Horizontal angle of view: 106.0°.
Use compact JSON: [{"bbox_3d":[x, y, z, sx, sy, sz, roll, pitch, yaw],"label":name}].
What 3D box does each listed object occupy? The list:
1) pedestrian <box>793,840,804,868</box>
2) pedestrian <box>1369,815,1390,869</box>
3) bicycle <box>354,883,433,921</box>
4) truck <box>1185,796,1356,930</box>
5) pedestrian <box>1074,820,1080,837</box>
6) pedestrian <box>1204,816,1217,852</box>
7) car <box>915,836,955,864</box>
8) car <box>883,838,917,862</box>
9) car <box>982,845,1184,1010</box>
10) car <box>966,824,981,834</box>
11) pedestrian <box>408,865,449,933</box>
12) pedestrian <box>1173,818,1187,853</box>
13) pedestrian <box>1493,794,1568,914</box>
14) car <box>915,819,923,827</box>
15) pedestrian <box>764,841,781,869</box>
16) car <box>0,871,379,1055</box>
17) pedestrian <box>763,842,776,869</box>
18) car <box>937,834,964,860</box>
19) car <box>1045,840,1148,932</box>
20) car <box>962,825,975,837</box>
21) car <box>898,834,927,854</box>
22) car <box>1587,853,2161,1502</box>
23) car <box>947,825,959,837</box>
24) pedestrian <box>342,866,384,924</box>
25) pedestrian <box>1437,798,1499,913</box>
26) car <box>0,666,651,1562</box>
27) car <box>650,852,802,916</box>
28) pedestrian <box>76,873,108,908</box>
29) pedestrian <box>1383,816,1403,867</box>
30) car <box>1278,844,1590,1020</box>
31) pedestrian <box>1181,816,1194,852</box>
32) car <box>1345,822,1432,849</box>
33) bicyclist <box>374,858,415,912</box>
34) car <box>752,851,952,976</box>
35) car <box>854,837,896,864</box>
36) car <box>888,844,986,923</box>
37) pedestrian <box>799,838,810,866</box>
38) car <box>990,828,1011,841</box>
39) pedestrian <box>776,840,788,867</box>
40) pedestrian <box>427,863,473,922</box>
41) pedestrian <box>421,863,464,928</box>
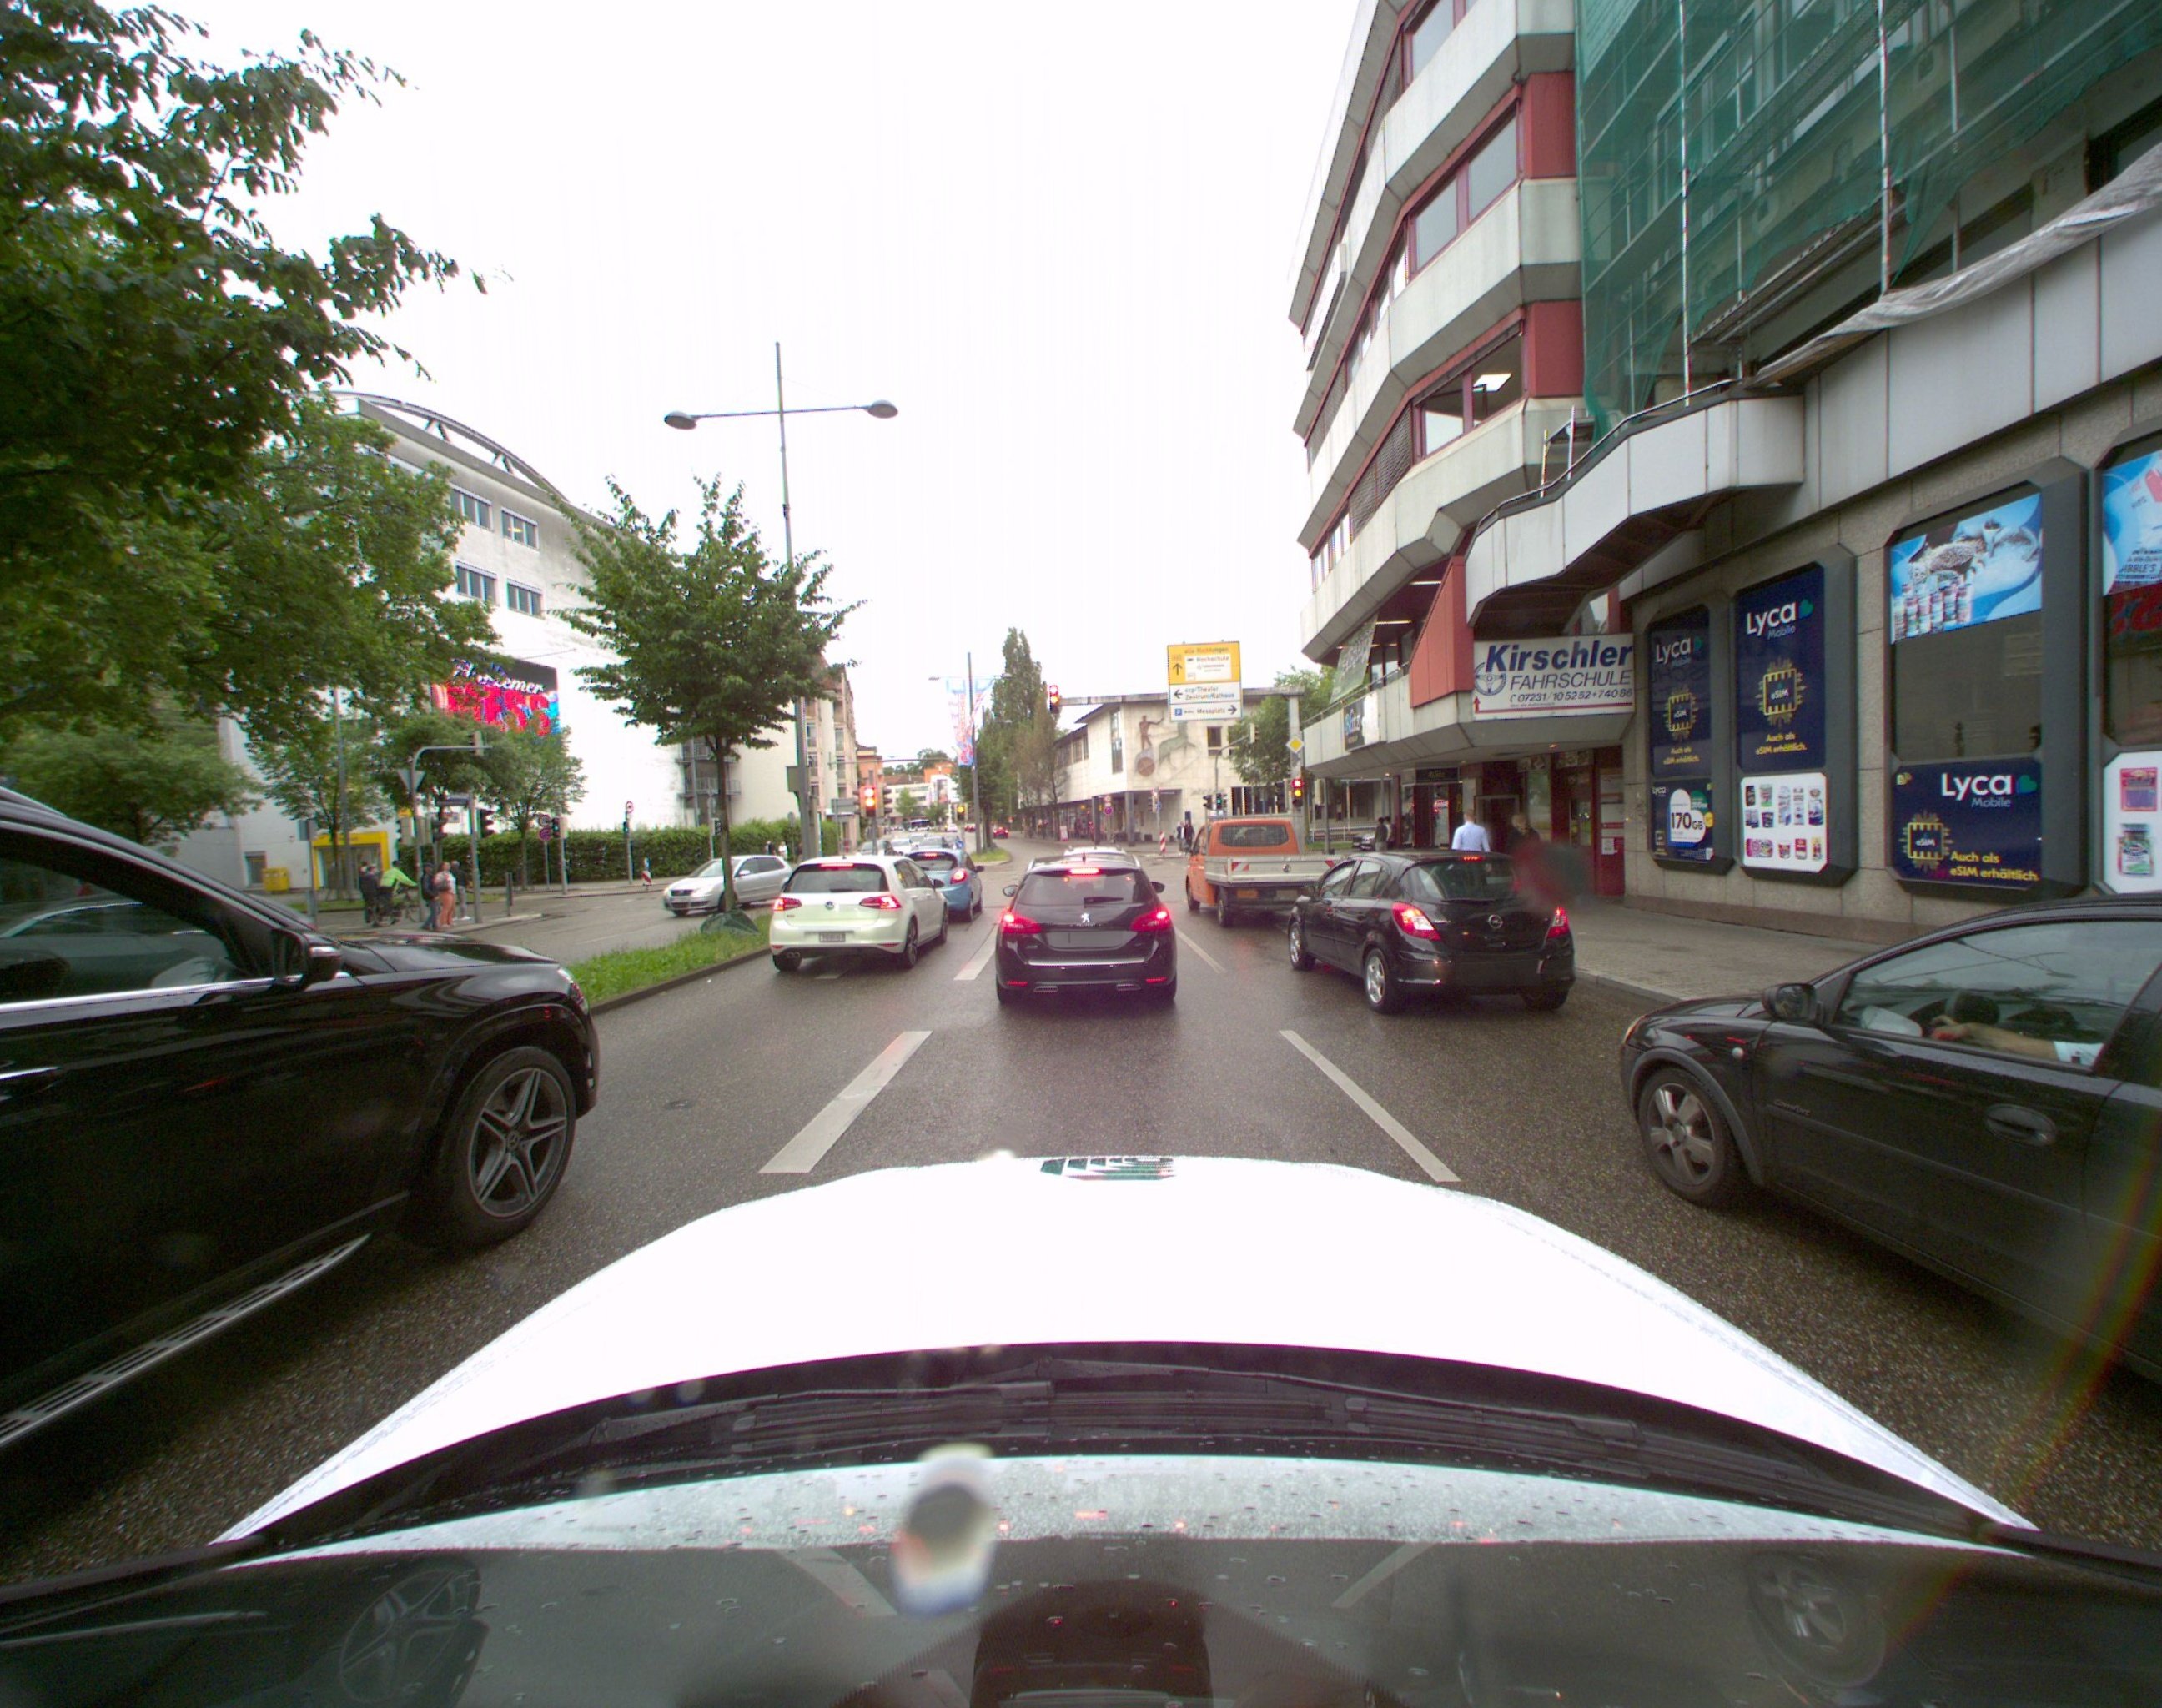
[{"bbox_3d":[-17.552,0.008,50.599,0.538,1.748,0.745,0,-1,-7],"label":"pedestrian"},{"bbox_3d":[9.588,-0.375,26.153,0.424,1.682,0.450,-3,-1,0],"label":"pedestrian"},{"bbox_3d":[-20.179,1.396,23.960,0.613,1.000,1.941,-3,-1,2],"label":"bicycle"},{"bbox_3d":[3.437,0.085,15.896,2.170,2.172,5.020,-1,1,0],"label":"truck"},{"bbox_3d":[-0.446,-2.580,82.932,0.469,1.748,0.537,0,-1,-19],"label":"pedestrian"},{"bbox_3d":[6.904,-1.057,43.508,0.633,1.897,0.735,-1,-1,8],"label":"pedestrian"},{"bbox_3d":[-8.606,-0.209,48.322,1.739,1.579,3.997,-1,-1,-1],"label":"car"},{"bbox_3d":[-12.067,-0.282,54.477,1.630,1.486,3.604,-1,1,-4],"label":"car"},{"bbox_3d":[0.097,0.636,9.135,1.771,1.429,3.844,-1,1,2],"label":"car"},{"bbox_3d":[-18.246,-4.226,138.030,1.729,1.490,4.706,0,-1,-16],"label":"car"},{"bbox_3d":[-16.496,1.123,20.582,0.552,1.661,0.583,-1,2,33],"label":"pedestrian"},{"bbox_3d":[5.093,-0.925,41.878,0.633,1.758,0.735,-1,-1,8],"label":"pedestrian"},{"bbox_3d":[7.614,-0.002,13.834,0.733,1.934,0.640,-5,-1,1],"label":"pedestrian"},{"bbox_3d":[-45.024,-8.622,226.137,1.709,1.786,3.979,0,-1,-15],"label":"car"},{"bbox_3d":[-18.017,0.058,47.584,0.634,1.643,0.735,-1,-1,5],"label":"pedestrian"},{"bbox_3d":[-10.697,1.100,9.039,1.628,1.485,4.736,-4,2,-1],"label":"car"},{"bbox_3d":[-18.672,0.117,48.774,0.579,1.599,0.526,-1,-1,-5],"label":"pedestrian"},{"bbox_3d":[-8.786,-0.428,55.161,1.743,1.640,3.988,0,-1,-9],"label":"car"},{"bbox_3d":[0.319,0.504,15.426,1.690,1.486,3.795,-1,1,2],"label":"car"},{"bbox_3d":[-20.438,-4.205,147.998,1.709,1.936,3.979,0,-1,-15],"label":"car"},{"bbox_3d":[-12.667,-0.780,61.416,1.630,1.486,3.604,-1,1,-4],"label":"car"},{"bbox_3d":[3.276,0.744,2.295,1.600,1.429,3.626,-1,1,3],"label":"car"},{"bbox_3d":[-23.098,-4.167,146.784,1.709,1.882,3.979,0,-1,-15],"label":"car"},{"bbox_3d":[-21.366,1.214,24.249,0.637,1.666,0.580,-2,2,1],"label":"pedestrian"},{"bbox_3d":[6.660,0.033,14.029,0.733,1.935,0.640,-1,-1,1],"label":"pedestrian"},{"bbox_3d":[-3.213,0.550,1.668,1.905,1.870,5.073,-1,-1,1],"label":"car"},{"bbox_3d":[-9.490,0.758,22.092,1.620,1.468,3.769,-5,-1,17],"label":"car"},{"bbox_3d":[-48.256,1.779,39.750,0.633,1.643,0.735,-1,-1,8],"label":"pedestrian"},{"bbox_3d":[10.154,-0.393,26.539,0.395,1.640,0.504,-3,-1,2],"label":"pedestrian"},{"bbox_3d":[3.403,0.621,8.681,1.611,1.429,3.840,-1,1,-1],"label":"car"},{"bbox_3d":[5.705,-1.061,43.605,0.633,1.897,0.735,-1,-1,8],"label":"pedestrian"},{"bbox_3d":[15.189,-0.892,40.382,3.669,1.212,1.839,-1,-1,6],"label":"car"},{"bbox_3d":[-20.197,0.904,23.959,0.629,1.530,0.609,-3,-1,1],"label":"bicyclist"},{"bbox_3d":[-3.040,0.705,11.660,1.772,1.429,3.841,-1,1,0],"label":"car"},{"bbox_3d":[-11.968,-0.216,47.509,1.569,1.486,3.608,-1,1,-1],"label":"car"},{"bbox_3d":[-3.025,0.550,17.704,1.629,1.486,3.606,-1,1,-3],"label":"car"},{"bbox_3d":[-17.734,-0.108,52.230,0.538,1.748,0.564,-1,-1,-3],"label":"pedestrian"},{"bbox_3d":[-10.223,-2.490,103.151,1.790,1.454,4.485,-5,3,-14],"label":"car"},{"bbox_3d":[-18.250,-0.028,49.696,0.579,1.599,0.526,-1,-1,-5],"label":"pedestrian"},{"bbox_3d":[-18.491,1.127,23.875,0.750,1.661,0.628,-2,2,1],"label":"pedestrian"},{"bbox_3d":[-17.028,1.099,21.728,0.555,1.661,0.580,-2,2,2],"label":"pedestrian"}]
